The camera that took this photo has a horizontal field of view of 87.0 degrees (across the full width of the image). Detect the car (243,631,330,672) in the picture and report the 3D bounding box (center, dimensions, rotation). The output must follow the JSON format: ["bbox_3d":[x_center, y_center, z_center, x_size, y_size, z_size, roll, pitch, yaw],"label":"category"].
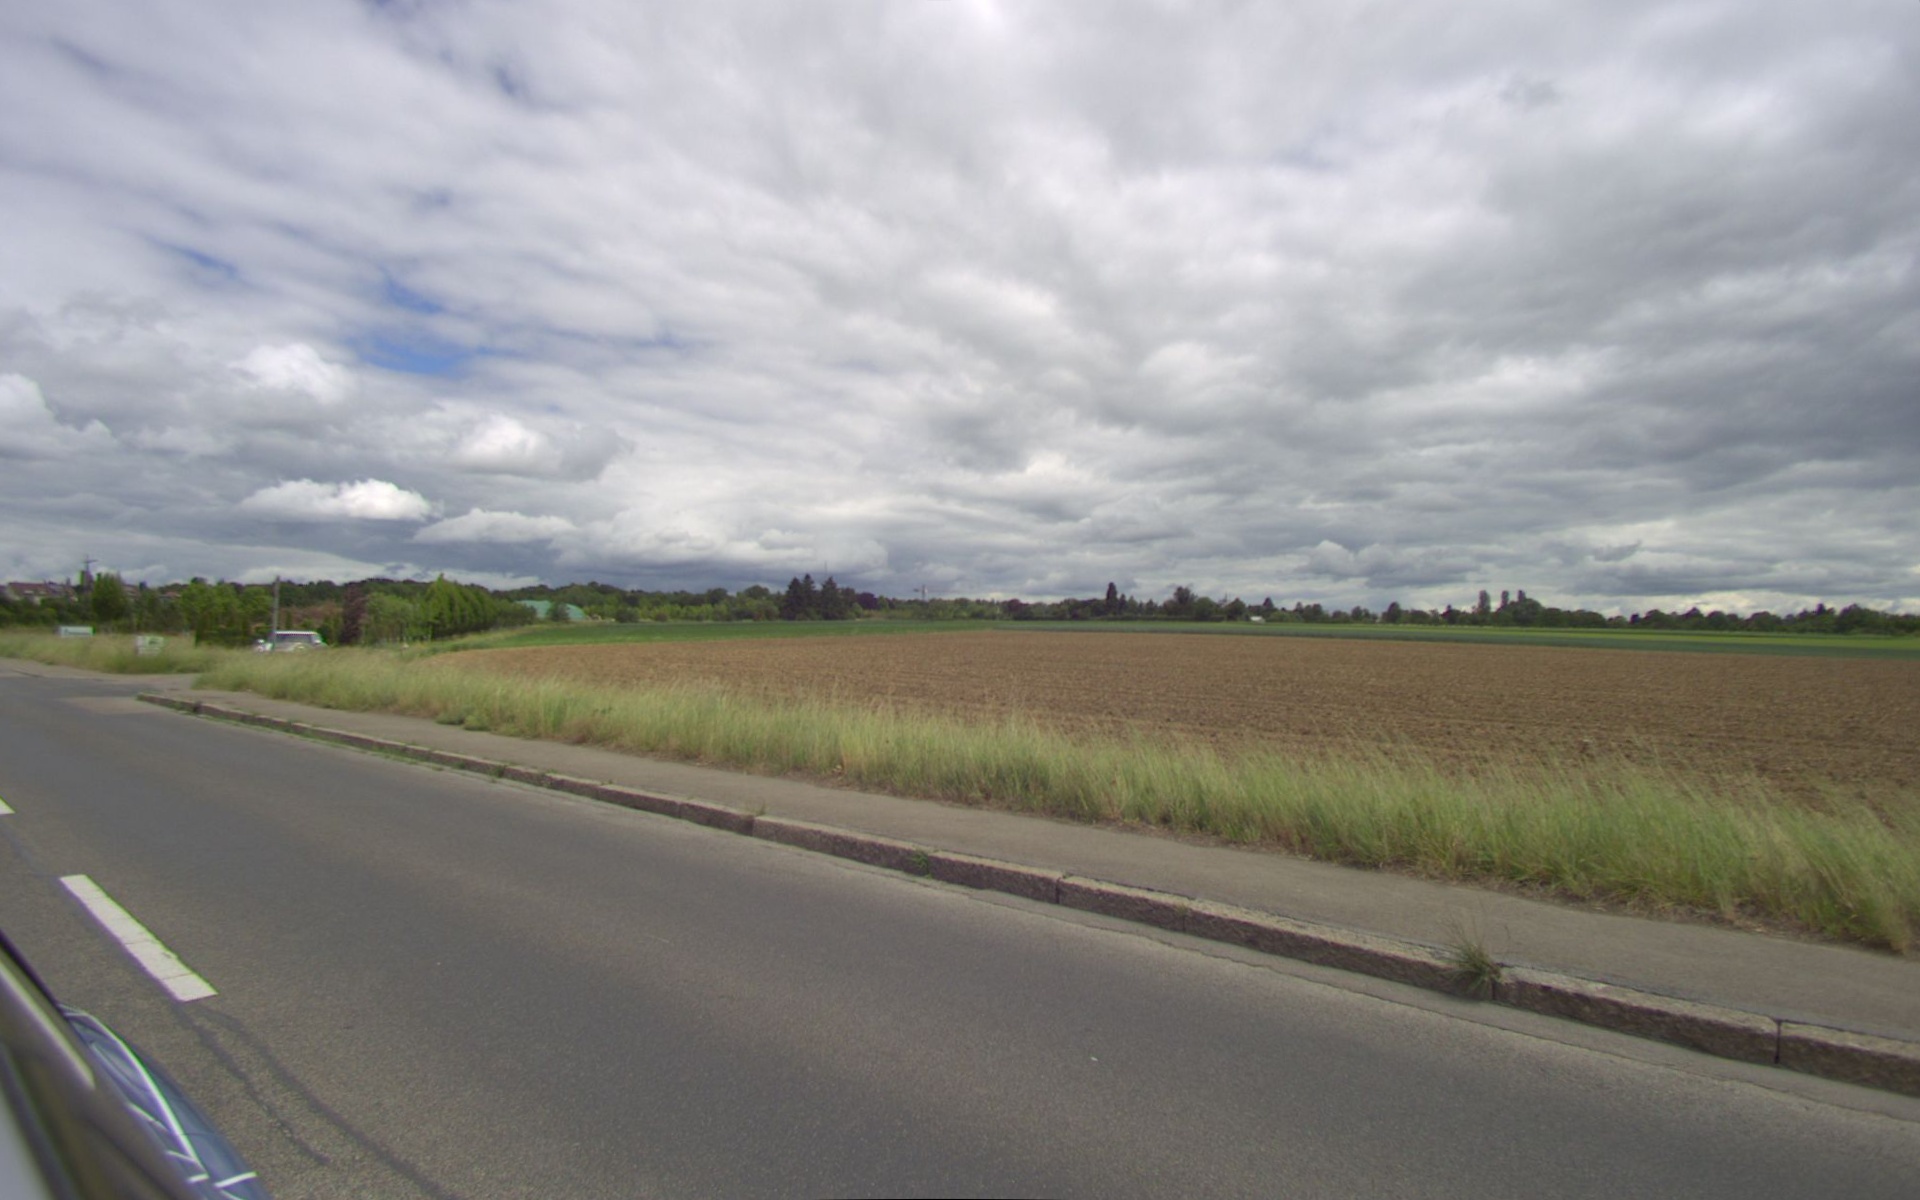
[{"bbox_3d":[-25.384,1.950,38.272,1.941,1.465,4.013,1,-3,-22],"label":"car"}]
